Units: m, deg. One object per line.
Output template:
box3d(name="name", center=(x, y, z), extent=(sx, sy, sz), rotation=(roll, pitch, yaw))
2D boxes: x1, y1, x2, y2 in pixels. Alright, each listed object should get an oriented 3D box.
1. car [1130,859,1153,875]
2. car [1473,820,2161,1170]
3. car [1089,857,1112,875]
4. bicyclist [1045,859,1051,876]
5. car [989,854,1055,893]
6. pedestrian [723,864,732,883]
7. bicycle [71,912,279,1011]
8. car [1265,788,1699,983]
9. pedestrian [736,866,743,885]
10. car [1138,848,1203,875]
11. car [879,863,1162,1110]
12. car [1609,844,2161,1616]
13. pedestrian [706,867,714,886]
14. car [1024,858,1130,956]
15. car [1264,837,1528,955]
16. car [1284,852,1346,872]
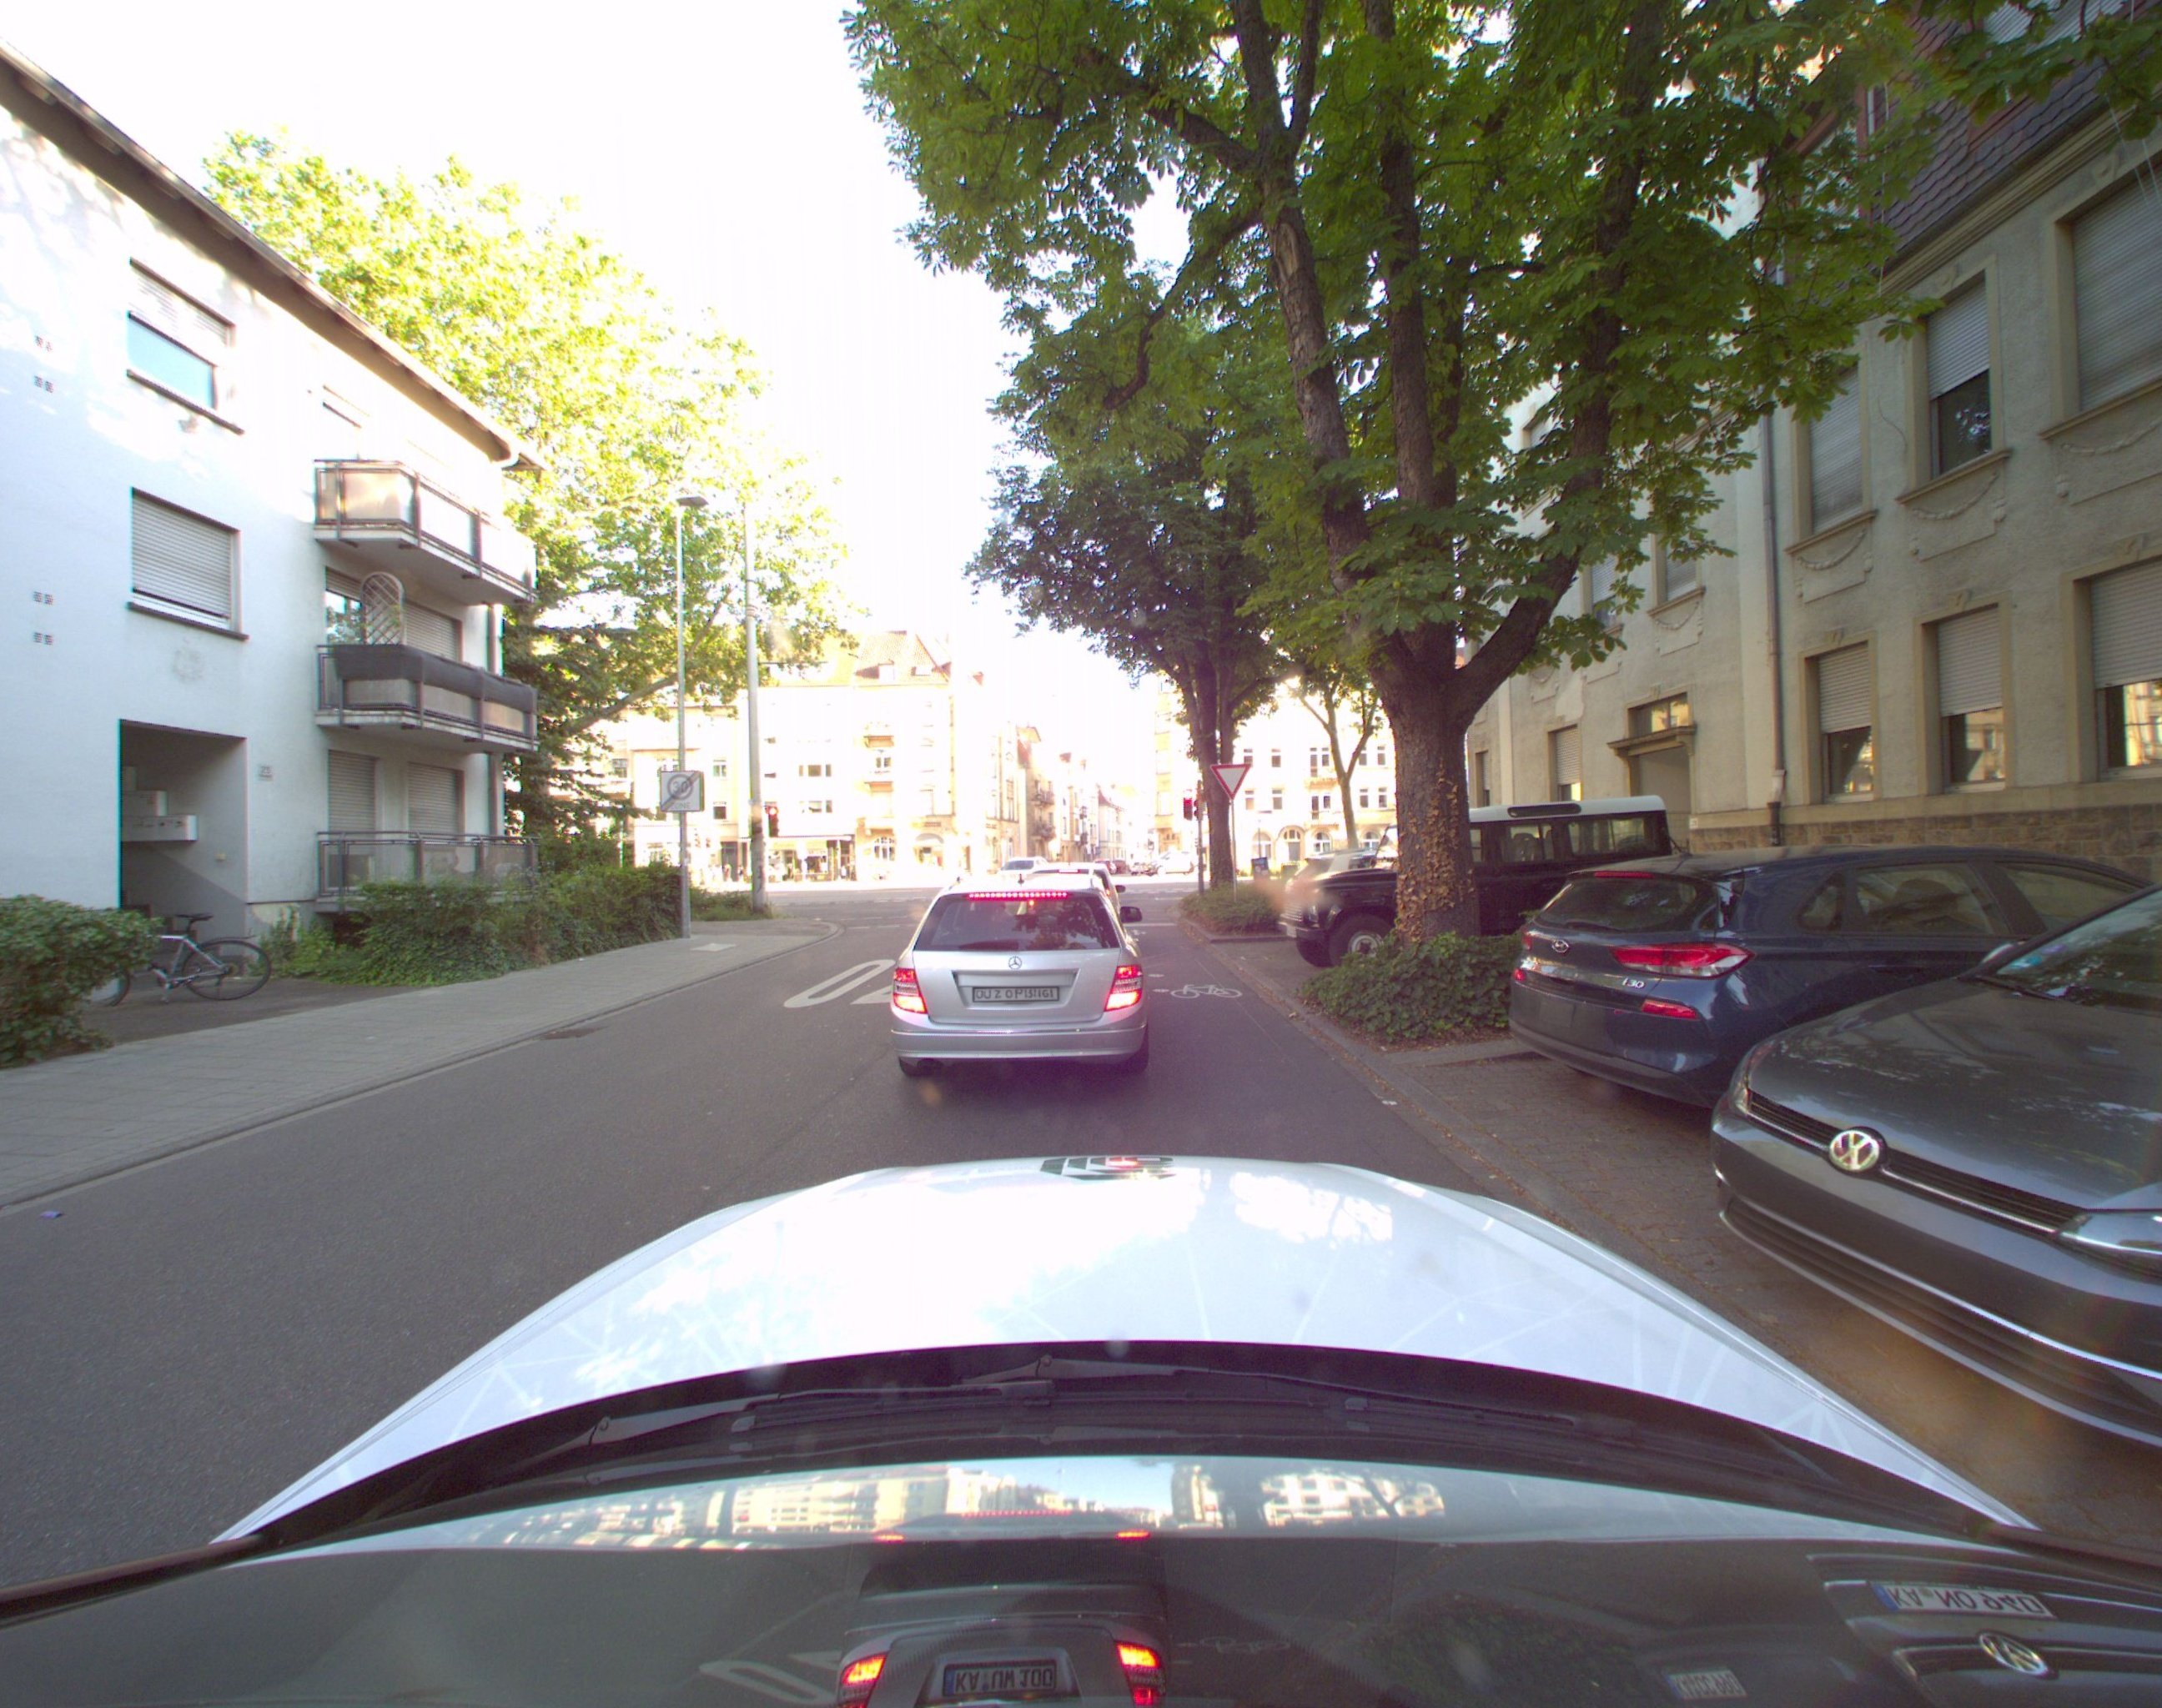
box3d(name="car", center=(6.407, 1.331, 85.901), extent=(1.708, 1.478, 4.016), rotation=(-3, 0, 14))
box3d(name="car", center=(4.466, 0.614, 4.533), extent=(3.739, 1.422, 1.627), rotation=(-3, -1, -2))
box3d(name="car", center=(2.173, 1.337, 90.893), extent=(1.926, 1.958, 4.161), rotation=(-2, 0, 10))
box3d(name="bicyclist", center=(-2.994, 1.196, 73.626), extent=(0.465, 1.521, 0.693), rotation=(-1, 0, -2))
box3d(name="car", center=(-2.449, 0.806, 34.839), extent=(1.770, 1.461, 4.312), rotation=(-1, 1, 10))
box3d(name="pedestrian", center=(-27.635, 1.514, 63.693), extent=(0.566, 1.511, 0.499), rotation=(-1, 0, -17))
box3d(name="bicycle", center=(-10.004, 1.159, 9.067), extent=(1.469, 0.975, 0.402), rotation=(2, -2, -38))
box3d(name="car", center=(4.793, 0.352, 10.182), extent=(4.478, 1.956, 1.792), rotation=(-3, 0, -1))
box3d(name="pedestrian", center=(-27.231, 1.728, 64.892), extent=(0.474, 1.511, 0.428), rotation=(-1, 0, -18))
box3d(name="car", center=(5.477, 0.465, 50.007), extent=(3.592, 1.501, 1.610), rotation=(-2, 1, -20))
box3d(name="car", center=(-0.379, 0.810, 6.617), extent=(1.685, 1.429, 3.491), rotation=(0, 0, -1))
box3d(name="car", center=(4.061, 0.664, 2.312), extent=(4.037, 1.422, 1.627), rotation=(-3, -1, -2))
box3d(name="pedestrian", center=(-29.700, 1.782, 65.175), extent=(0.536, 1.511, 0.507), rotation=(-1, 0, -17))
box3d(name="car", center=(-0.047, 0.790, 13.762), extent=(1.528, 1.391, 3.599), rotation=(-1, 0, 0))
box3d(name="car", center=(4.902, 0.616, 12.963), extent=(3.475, 1.586, 1.708), rotation=(-3, 0, -5))
box3d(name="car", center=(14.210, 0.474, 49.601), extent=(3.352, 1.069, 1.380), rotation=(-2, 0, 0))
